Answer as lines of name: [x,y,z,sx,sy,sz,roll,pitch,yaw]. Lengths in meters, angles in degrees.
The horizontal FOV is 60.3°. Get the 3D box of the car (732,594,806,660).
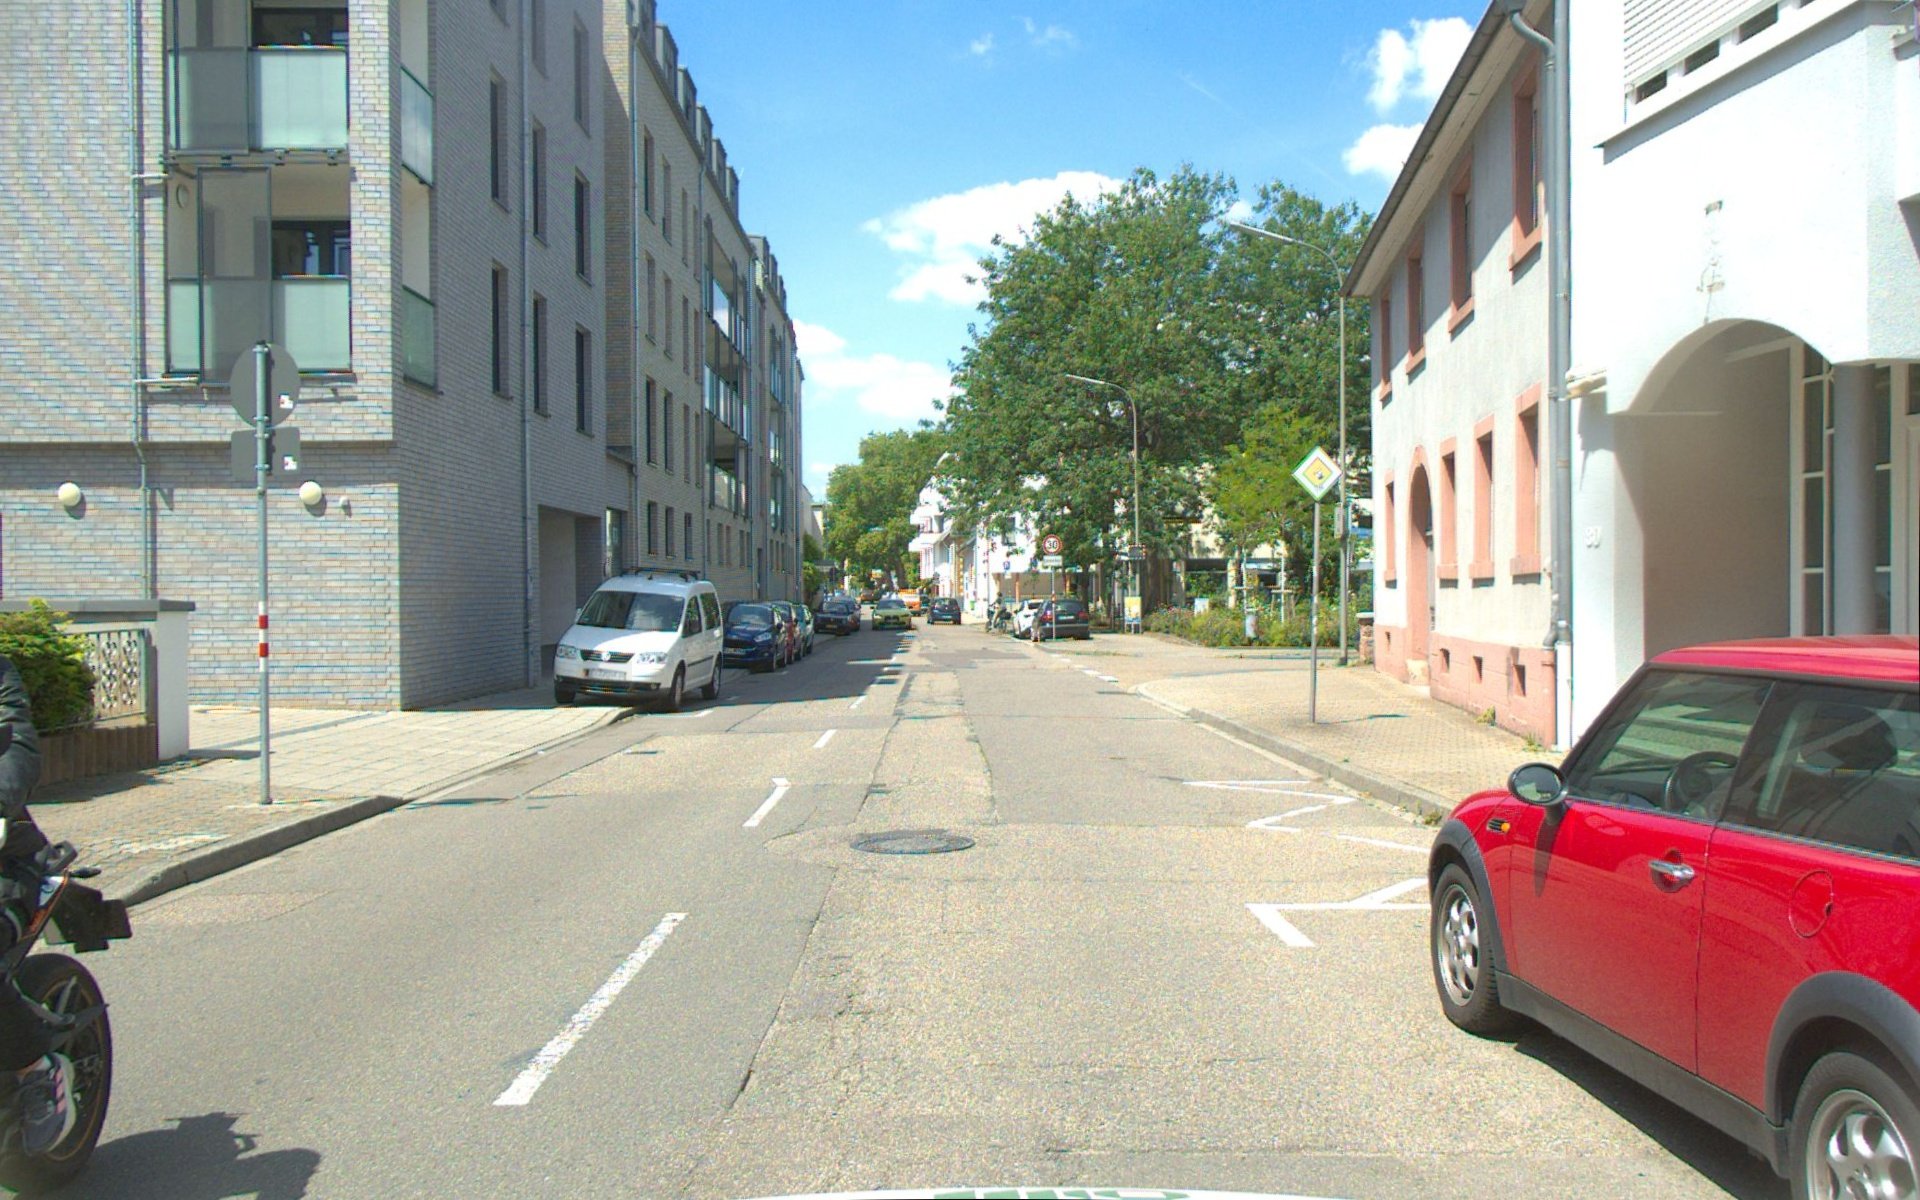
car: [-4.804,0.649,41.953,1.558,1.581,3.569,0,0,-2]

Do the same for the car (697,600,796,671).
car: [-4.706,0.745,36.935,1.688,1.481,4.005,1,0,0]

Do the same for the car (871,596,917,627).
car: [-3.126,0.530,79.050,1.952,1.405,4.393,1,0,0]

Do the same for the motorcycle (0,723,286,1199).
motorcycle: [-2.318,0.942,3.828,0.673,1.142,2.028,-1,0,0]

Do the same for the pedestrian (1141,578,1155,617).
pedestrian: [9.111,-0.117,80.017,0.582,1.891,0.604,-1,0,14]

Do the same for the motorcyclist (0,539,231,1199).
motorcyclist: [-2.316,0.650,3.786,0.805,1.535,1.057,-1,0,0]

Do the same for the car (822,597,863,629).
car: [-5.455,0.586,77.147,1.697,1.467,3.999,-1,0,-2]

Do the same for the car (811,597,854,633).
car: [-5.520,0.635,71.986,1.697,1.467,3.999,-1,0,-2]

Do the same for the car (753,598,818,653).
car: [-4.974,0.702,47.474,1.558,1.481,3.702,1,0,-2]

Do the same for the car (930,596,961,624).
car: [-0.824,0.541,91.287,1.680,1.426,3.999,-1,1,-1]

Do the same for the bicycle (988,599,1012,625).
bicycle: [1.747,0.518,72.290,0.478,1.134,1.184,-1,0,-29]

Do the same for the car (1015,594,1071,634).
car: [3.072,0.501,61.793,1.743,1.445,3.998,-1,0,-2]

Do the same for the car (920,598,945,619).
car: [-2.335,0.700,137.537,1.954,1.646,3.998,0,0,-3]

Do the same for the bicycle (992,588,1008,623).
bicycle: [1.757,0.251,72.270,0.472,1.516,0.570,-1,0,-30]

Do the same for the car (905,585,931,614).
car: [-3.096,-0.050,122.493,1.801,2.049,4.000,-1,1,-1]

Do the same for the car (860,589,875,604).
car: [-12.878,-0.460,230.517,2.113,2.049,3.998,-1,0,-3]

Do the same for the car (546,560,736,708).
car: [-4.583,0.440,24.366,1.720,1.925,4.338,2,0,3]

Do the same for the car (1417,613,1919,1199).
car: [2.632,0.769,4.617,1.586,1.410,3.536,0,0,-3]

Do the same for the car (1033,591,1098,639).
car: [3.462,0.475,54.881,1.658,1.445,3.998,-3,0,-2]
